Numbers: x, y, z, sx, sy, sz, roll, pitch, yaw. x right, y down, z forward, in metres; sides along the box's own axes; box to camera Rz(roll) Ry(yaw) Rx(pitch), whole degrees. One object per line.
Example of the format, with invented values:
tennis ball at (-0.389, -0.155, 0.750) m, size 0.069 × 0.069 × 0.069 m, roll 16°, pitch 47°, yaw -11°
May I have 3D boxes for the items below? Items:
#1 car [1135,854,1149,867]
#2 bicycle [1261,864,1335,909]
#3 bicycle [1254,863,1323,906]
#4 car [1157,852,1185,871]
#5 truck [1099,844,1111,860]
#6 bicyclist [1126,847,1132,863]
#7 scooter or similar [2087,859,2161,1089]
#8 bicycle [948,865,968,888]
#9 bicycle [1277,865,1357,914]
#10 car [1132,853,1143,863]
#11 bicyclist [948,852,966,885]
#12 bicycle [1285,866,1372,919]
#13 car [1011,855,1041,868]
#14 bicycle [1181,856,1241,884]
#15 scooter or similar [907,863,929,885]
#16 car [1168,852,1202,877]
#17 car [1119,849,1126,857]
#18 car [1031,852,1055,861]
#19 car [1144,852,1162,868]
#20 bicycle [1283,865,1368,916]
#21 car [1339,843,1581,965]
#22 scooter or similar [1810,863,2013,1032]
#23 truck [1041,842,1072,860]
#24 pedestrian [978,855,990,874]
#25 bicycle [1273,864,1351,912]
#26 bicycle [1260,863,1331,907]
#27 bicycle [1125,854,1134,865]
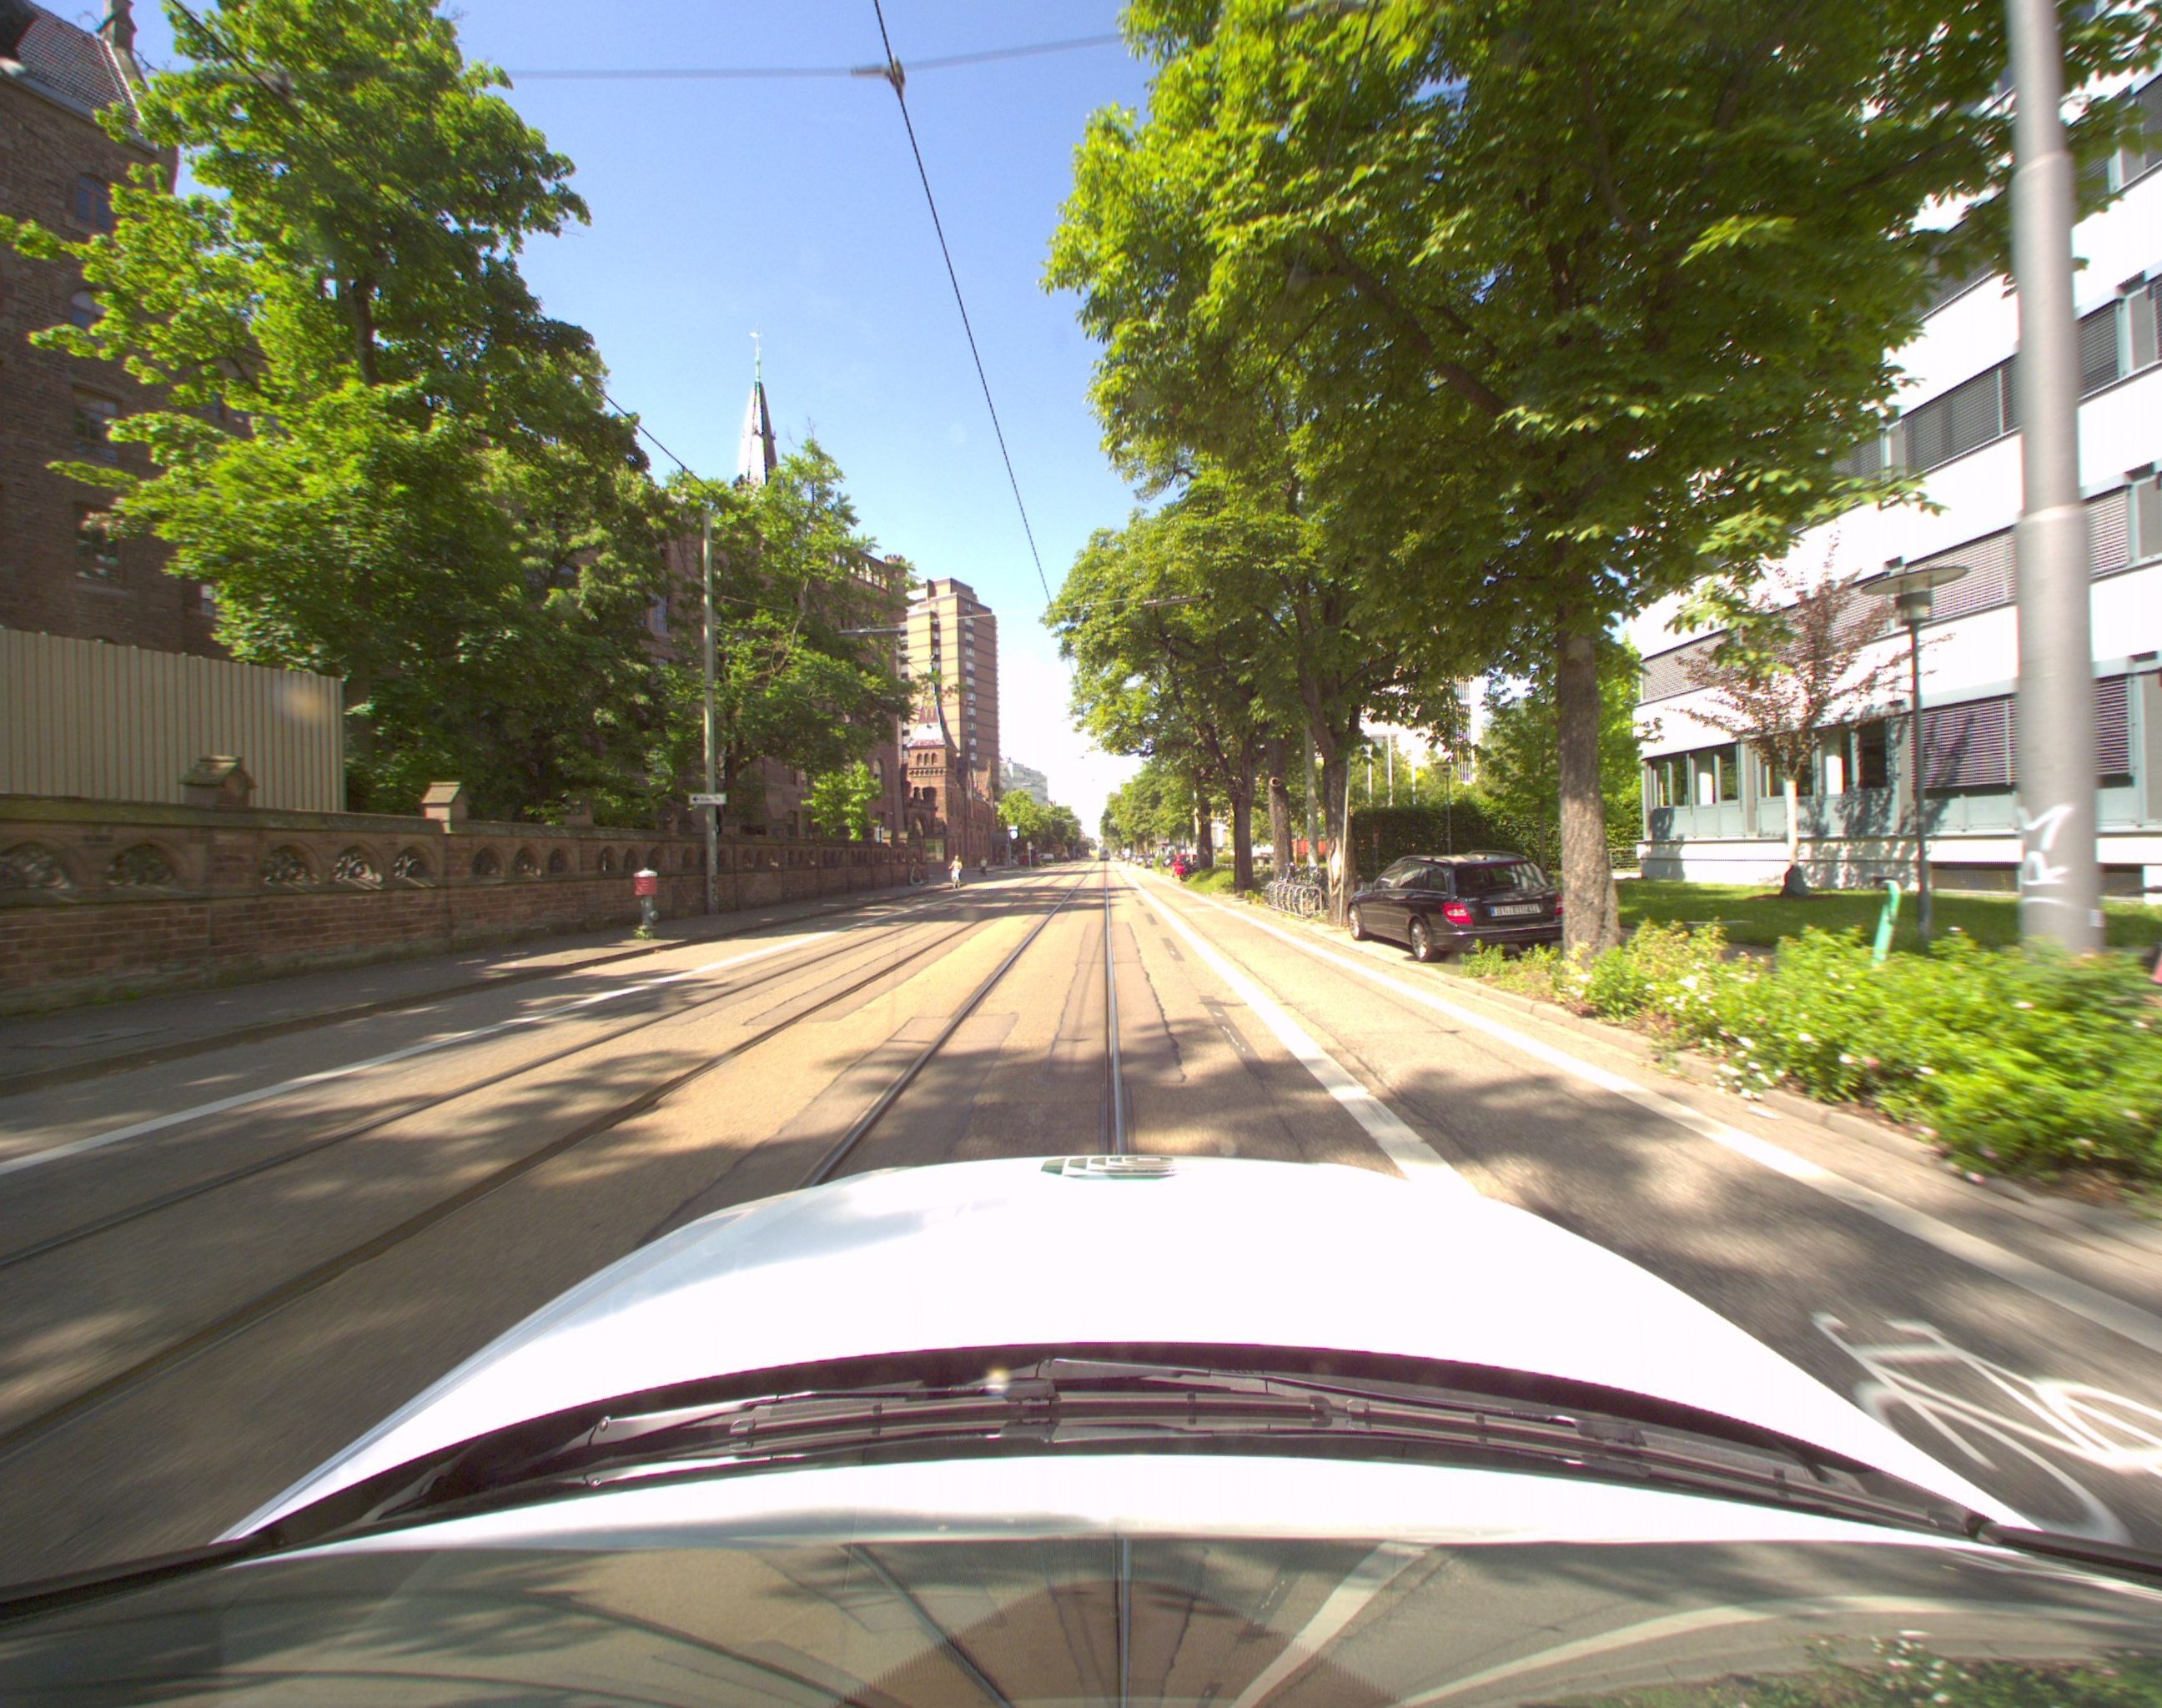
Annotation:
car at (7.530, 0.798, 100.791) m, size 1.623 × 1.472 × 4.115 m, roll -2°, pitch 0°, yaw 2°
bicycle at (5.565, 0.819, 20.930) m, size 1.718 × 1.086 × 0.615 m, roll -2°, pitch 0°, yaw 0°
bicycle at (5.603, 0.827, 21.983) m, size 1.718 × 1.086 × 0.478 m, roll -2°, pitch 0°, yaw 0°
car at (6.713, 0.551, 61.211) m, size 1.625 × 1.355 × 3.901 m, roll -2°, pitch 0°, yaw 0°
truck at (4.965, -0.369, 168.782) m, size 2.393 × 3.108 × 6.039 m, roll -1°, pitch 0°, yaw 1°
bicyclist at (5.470, 0.125, 92.423) m, size 0.633 × 1.871 × 1.024 m, roll -2°, pitch 0°, yaw 1°
scooter or similar at (6.401, 0.687, 4.408) m, size 0.471 × 1.301 × 1.158 m, roll -1°, pitch 0°, yaw 2°
bicycle at (-6.428, 1.175, 42.652) m, size 0.660 × 1.154 × 2.015 m, roll -1°, pitch 0°, yaw 2°
bicycle at (5.571, 0.826, 19.282) m, size 1.718 × 1.086 × 0.570 m, roll -2°, pitch 0°, yaw 0°
car at (8.743, 0.581, 126.402) m, size 1.623 × 1.472 × 4.115 m, roll -2°, pitch 0°, yaw 2°
bicyclist at (-6.459, 0.760, 42.490) m, size 0.722 × 1.698 × 1.147 m, roll -1°, pitch 0°, yaw 1°
bicycle at (5.454, 0.838, 17.994) m, size 1.718 × 1.086 × 0.629 m, roll -2°, pitch 0°, yaw 0°
car at (-8.063, 1.121, 119.033) m, size 4.017 × 1.810 × 1.869 m, roll -1°, pitch 0°, yaw -36°
bicycle at (6.712, 0.813, 42.217) m, size 3.014 × 1.332 × 1.042 m, roll -1°, pitch 0°, yaw 4°
scooter or similar at (-8.768, 1.079, 43.851) m, size 0.329 × 1.129 × 1.194 m, roll -2°, pitch 0°, yaw 40°
car at (6.527, 0.634, 51.353) m, size 1.625 × 1.472 × 3.718 m, roll -2°, pitch 0°, yaw 0°
car at (9.579, -0.226, 187.748) m, size 1.623 × 1.569 × 4.115 m, roll -2°, pitch 0°, yaw 2°
car at (-7.111, 0.467, 152.172) m, size 4.011 × 1.750 × 1.981 m, roll -1°, pitch 0°, yaw -29°
car at (7.315, 0.586, 82.896) m, size 1.623 × 1.472 × 4.115 m, roll -1°, pitch 0°, yaw 2°
bicycle at (5.578, 0.829, 18.651) m, size 1.718 × 1.086 × 0.697 m, roll -2°, pitch 0°, yaw 1°
car at (5.442, 0.623, 12.363) m, size 1.625 × 1.483 × 4.271 m, roll -2°, pitch 0°, yaw -1°
scooter or similar at (6.408, 0.670, 6.356) m, size 0.400 × 1.173 × 1.158 m, roll -1°, pitch 0°, yaw 2°
truck at (-5.358, -0.625, 180.969) m, size 2.788 × 3.859 × 10.056 m, roll -2°, pitch 0°, yaw 23°
pedestrian at (-7.954, 0.826, 66.674) m, size 0.882 × 1.512 × 1.472 m, roll -1°, pitch 0°, yaw -7°
bicycle at (5.618, 0.824, 19.892) m, size 1.718 × 1.086 × 0.589 m, roll -2°, pitch 0°, yaw 0°
bicycle at (5.654, 0.821, 21.498) m, size 1.718 × 1.086 × 0.478 m, roll -2°, pitch 0°, yaw 0°
bicycle at (5.488, 0.612, 92.317) m, size 0.852 × 1.110 × 2.140 m, roll -2°, pitch 0°, yaw 1°
